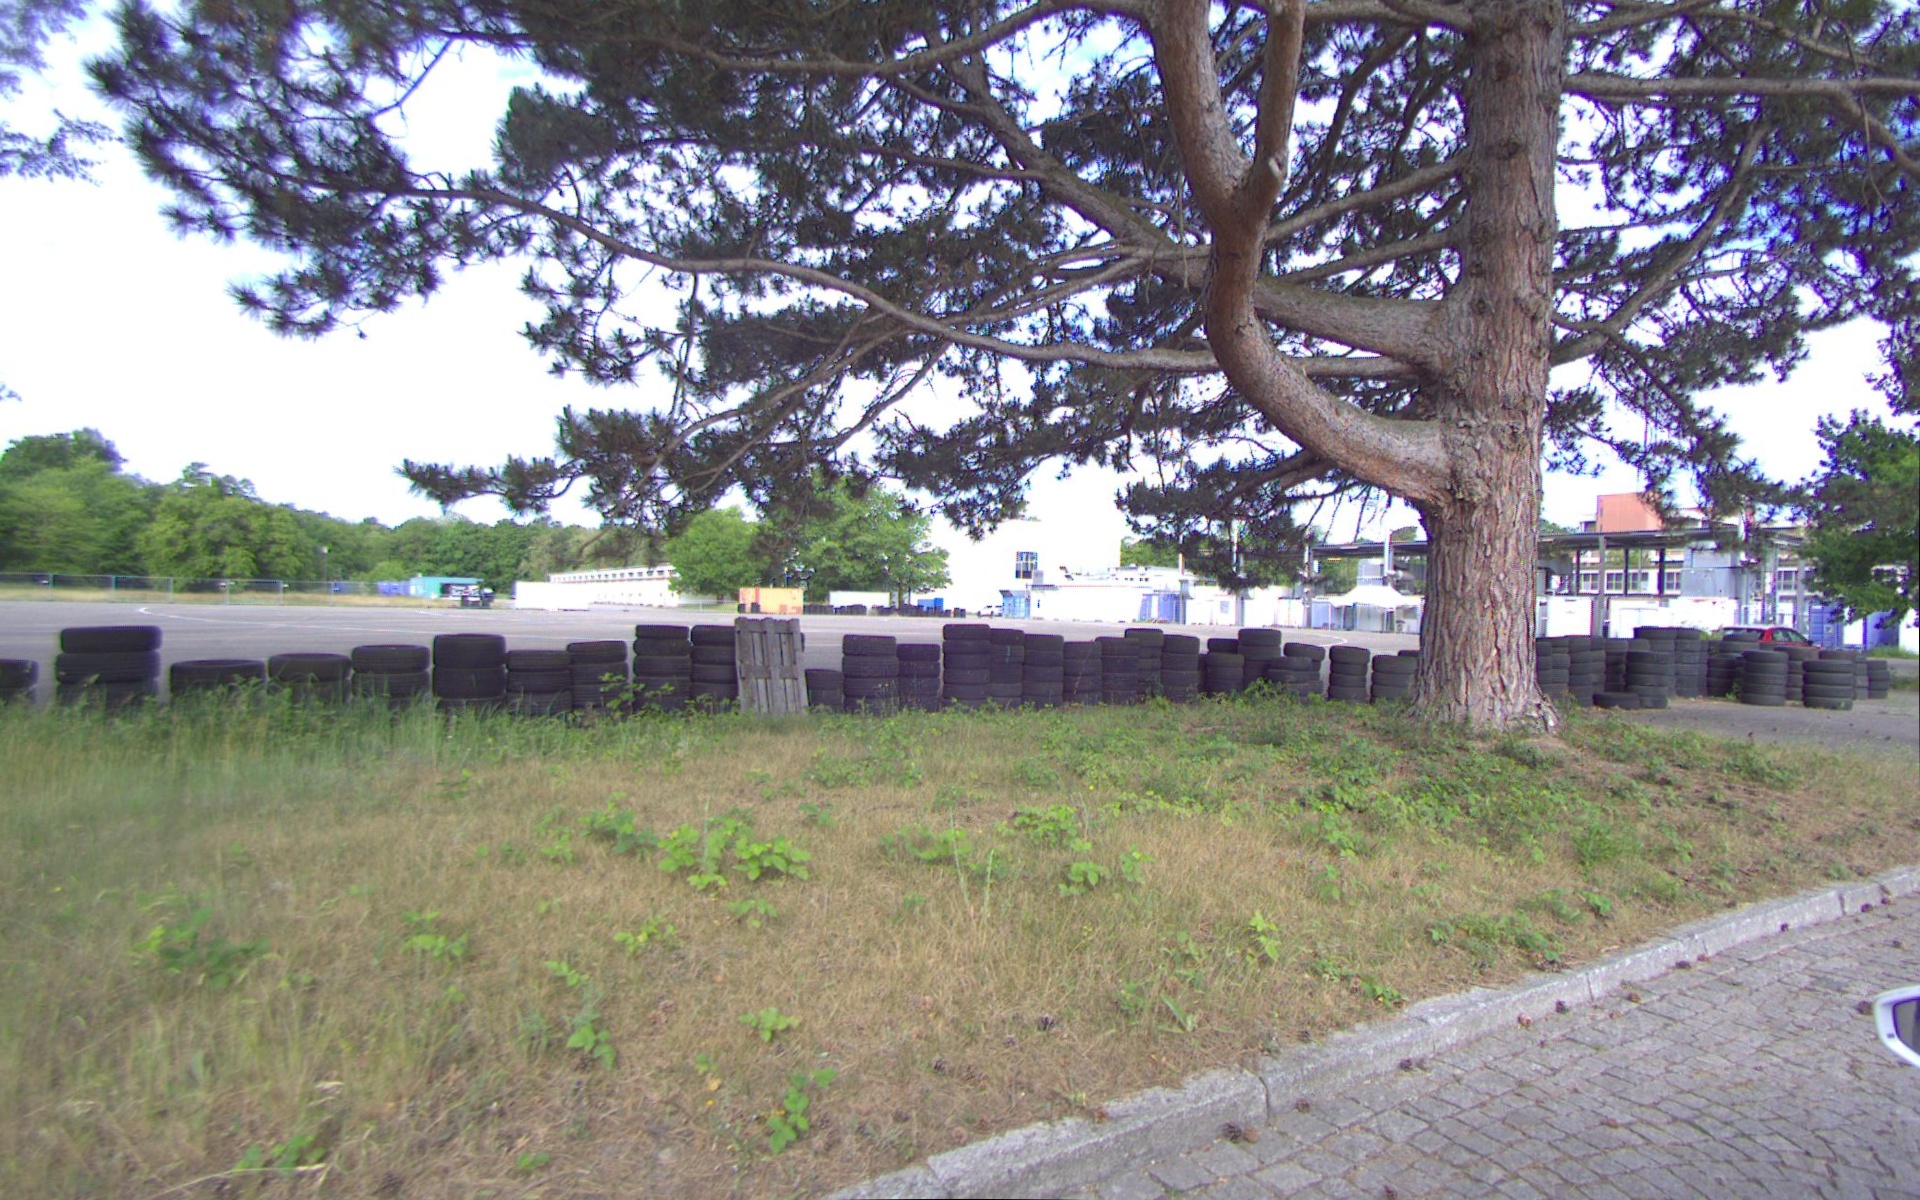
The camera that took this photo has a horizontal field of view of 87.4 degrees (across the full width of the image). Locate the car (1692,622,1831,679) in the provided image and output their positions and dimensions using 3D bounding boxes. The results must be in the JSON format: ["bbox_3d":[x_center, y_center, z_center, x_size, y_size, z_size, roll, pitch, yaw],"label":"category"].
[{"bbox_3d":[22.600,1.417,28.322,3.442,1.472,1.761,2,0,-26],"label":"car"}]

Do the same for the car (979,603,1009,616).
[{"bbox_3d":[4.084,1.154,122.043,1.613,1.553,3.943,2,0,-33],"label":"car"}]
